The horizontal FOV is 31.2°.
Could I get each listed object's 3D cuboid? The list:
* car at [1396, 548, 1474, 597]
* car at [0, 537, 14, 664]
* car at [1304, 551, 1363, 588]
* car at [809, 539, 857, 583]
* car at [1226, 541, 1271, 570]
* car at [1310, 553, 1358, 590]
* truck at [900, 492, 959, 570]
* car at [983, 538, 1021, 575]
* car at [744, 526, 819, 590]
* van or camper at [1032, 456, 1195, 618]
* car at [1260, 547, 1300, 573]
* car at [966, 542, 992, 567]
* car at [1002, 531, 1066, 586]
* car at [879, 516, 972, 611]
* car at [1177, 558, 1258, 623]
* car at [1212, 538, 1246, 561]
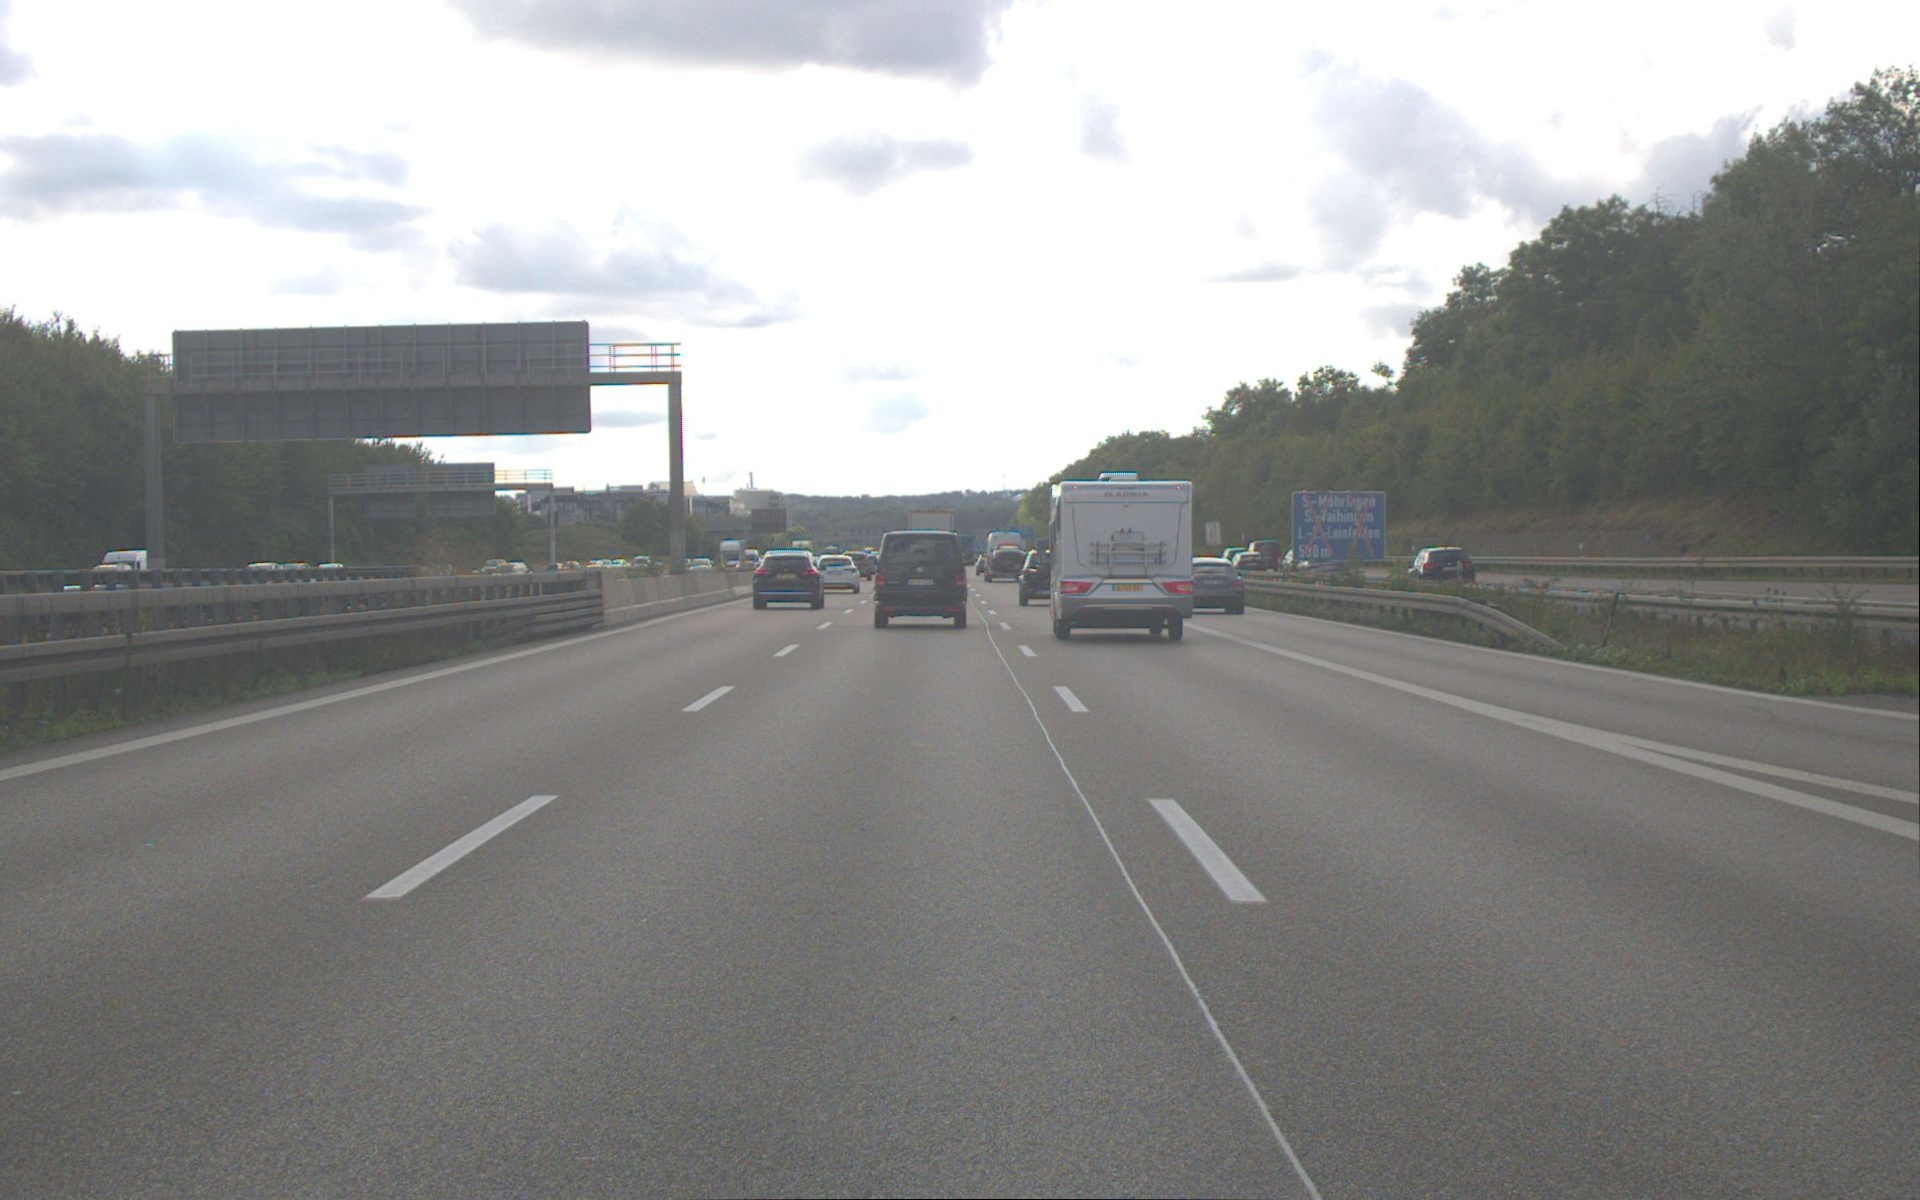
[{"bbox_3d":[15.723,-0.928,114.013,1.843,1.479,4.526,-2,1,-1],"label":"car"},{"bbox_3d":[-12.773,0.046,41.348,1.675,1.571,4.174,-1,1,-1],"label":"car"},{"bbox_3d":[16.108,-1.338,148.428,1.843,1.479,4.526,-2,1,-2],"label":"car"},{"bbox_3d":[-4.703,-1.457,127.708,1.697,1.605,4.114,0,1,-1],"label":"car"},{"bbox_3d":[15.456,-2.401,184.201,1.843,1.479,4.526,-2,1,-2],"label":"car"},{"bbox_3d":[16.079,-1.246,148.035,1.541,1.479,3.942,-2,1,-1],"label":"car"},{"bbox_3d":[-1.766,-3.942,197.984,3.263,4.360,11.027,1,1,-1],"label":"truck"},{"bbox_3d":[2.191,-2.313,180.335,1.913,1.912,4.030,0,1,-1],"label":"car"},{"bbox_3d":[-4.861,-1.144,93.987,1.873,1.692,4.072,0,1,-1],"label":"car"},{"bbox_3d":[2.673,-1.131,61.935,2.468,2.712,7.662,1,1,-1],"label":"van or camper"},{"bbox_3d":[19.498,-2.448,209.716,1.843,1.479,4.526,-2,1,-2],"label":"car"},{"bbox_3d":[1.297,-3.143,238.925,1.752,1.689,4.190,0,1,-1],"label":"car"},{"bbox_3d":[2.161,-1.224,101.375,1.697,1.559,4.114,0,1,-1],"label":"car"},{"bbox_3d":[-0.711,-0.761,70.578,1.855,1.904,4.260,0,1,-1],"label":"car"},{"bbox_3d":[6.592,-0.266,88.420,1.697,1.605,3.896,0,1,-1],"label":"car"},{"bbox_3d":[18.615,-3.488,237.934,1.843,1.479,4.526,-2,1,-2],"label":"car"}]
